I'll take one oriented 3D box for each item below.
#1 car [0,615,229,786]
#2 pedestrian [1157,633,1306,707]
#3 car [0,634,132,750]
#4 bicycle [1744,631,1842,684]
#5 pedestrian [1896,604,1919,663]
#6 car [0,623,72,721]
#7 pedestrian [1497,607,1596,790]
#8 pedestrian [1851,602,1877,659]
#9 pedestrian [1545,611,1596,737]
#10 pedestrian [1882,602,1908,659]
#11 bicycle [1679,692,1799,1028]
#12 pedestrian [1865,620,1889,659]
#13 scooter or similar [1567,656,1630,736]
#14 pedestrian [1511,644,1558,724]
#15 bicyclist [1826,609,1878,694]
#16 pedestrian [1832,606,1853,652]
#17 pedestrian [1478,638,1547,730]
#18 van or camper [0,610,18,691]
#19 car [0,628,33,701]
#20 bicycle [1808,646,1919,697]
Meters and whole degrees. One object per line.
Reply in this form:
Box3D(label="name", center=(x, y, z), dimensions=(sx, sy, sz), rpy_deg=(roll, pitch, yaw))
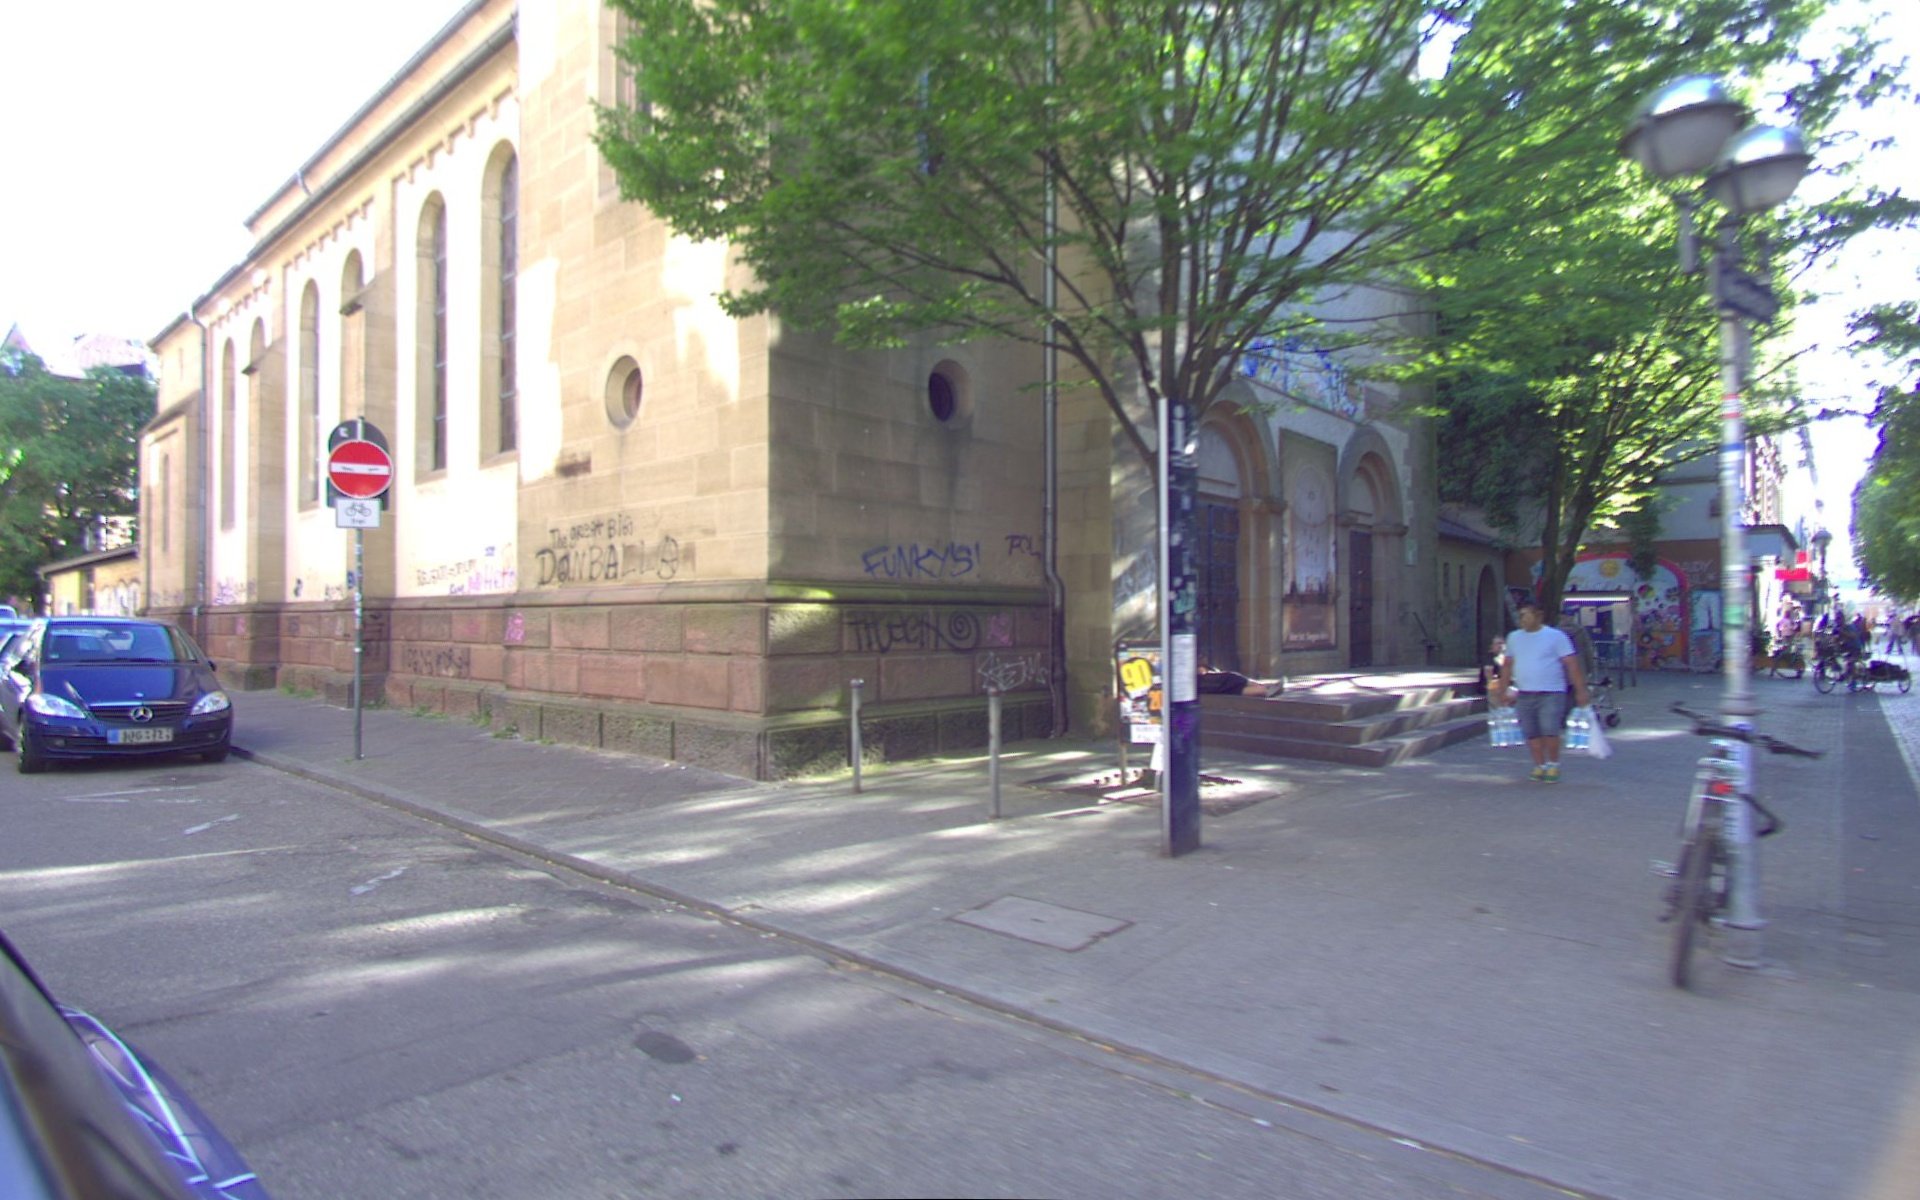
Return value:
Box3D(label="car", center=(-9.757, 0.961, 11.360), dimensions=(3.833, 1.564, 1.775), rpy_deg=(-1, 0, 42))
Box3D(label="pedestrian", center=(3.162, 0.787, 11.805), dimensions=(1.406, 0.766, 0.946), rpy_deg=(-1, 0, 42))
Box3D(label="car", center=(-13.345, 1.227, 14.677), dimensions=(4.146, 1.374, 1.555), rpy_deg=(-1, 0, 43))
Box3D(label="bicycle", center=(21.435, 1.452, 26.081), dimensions=(1.927, 1.276, 0.517), rpy_deg=(-1, 0, 41))
Box3D(label="pedestrian", center=(38.048, 1.313, 40.559), dimensions=(0.729, 2.335, 0.755), rpy_deg=(-1, 0, 38))
Box3D(label="car", center=(-17.440, 1.241, 18.293), dimensions=(4.000, 1.579, 1.701), rpy_deg=(-1, 0, 43))
Box3D(label="pedestrian", center=(5.388, 0.867, 9.294), dimensions=(0.714, 1.605, 0.474), rpy_deg=(-1, 0, 39))
Box3D(label="pedestrian", center=(37.108, 1.238, 41.549), dimensions=(0.729, 2.335, 0.755), rpy_deg=(-1, 0, 38))
Box3D(label="pedestrian", center=(8.199, 0.977, 13.617), dimensions=(0.548, 1.644, 0.555), rpy_deg=(-1, 0, 29))
Box3D(label="pedestrian", center=(38.927, 1.259, 42.137), dimensions=(0.729, 2.335, 0.754), rpy_deg=(-1, 0, 40))
Box3D(label="bicycle", center=(3.428, 1.009, 4.416), dimensions=(0.346, 1.073, 1.673), rpy_deg=(-1, 0, 40))
Box3D(label="pedestrian", center=(41.922, 1.788, 46.263), dimensions=(0.730, 1.750, 0.754), rpy_deg=(-2, -2, 40))
Box3D(label="scooter or similar", center=(8.773, 1.300, 13.903), dimensions=(0.721, 1.013, 0.506), rpy_deg=(0, 0, -38))
Box3D(label="pedestrian", center=(8.477, 1.228, 14.936), dimensions=(0.490, 1.116, 0.608), rpy_deg=(-1, 0, 41))
Box3D(label="bicyclist", center=(18.975, 1.082, 21.537), dimensions=(0.672, 1.775, 0.505), rpy_deg=(0, 0, -9))
Box3D(label="pedestrian", center=(44.731, 1.456, 51.289), dimensions=(0.730, 2.335, 0.753), rpy_deg=(-1, -1, 45))
Box3D(label="pedestrian", center=(7.871, 1.174, 14.416), dimensions=(0.741, 1.241, 0.607), rpy_deg=(-1, 0, 41))
Box3D(label="van or camper", center=(-25.419, 1.271, 25.584), dimensions=(4.562, 1.966, 1.958), rpy_deg=(-1, -2, 42))
Box3D(label="car", center=(-21.370, 1.359, 21.842), dimensions=(3.735, 1.492, 1.674), rpy_deg=(-1, -2, 42))
Box3D(label="bicycle", center=(19.516, 1.521, 21.622), dimensions=(2.720, 0.998, 0.489), rpy_deg=(0, 0, -9))
